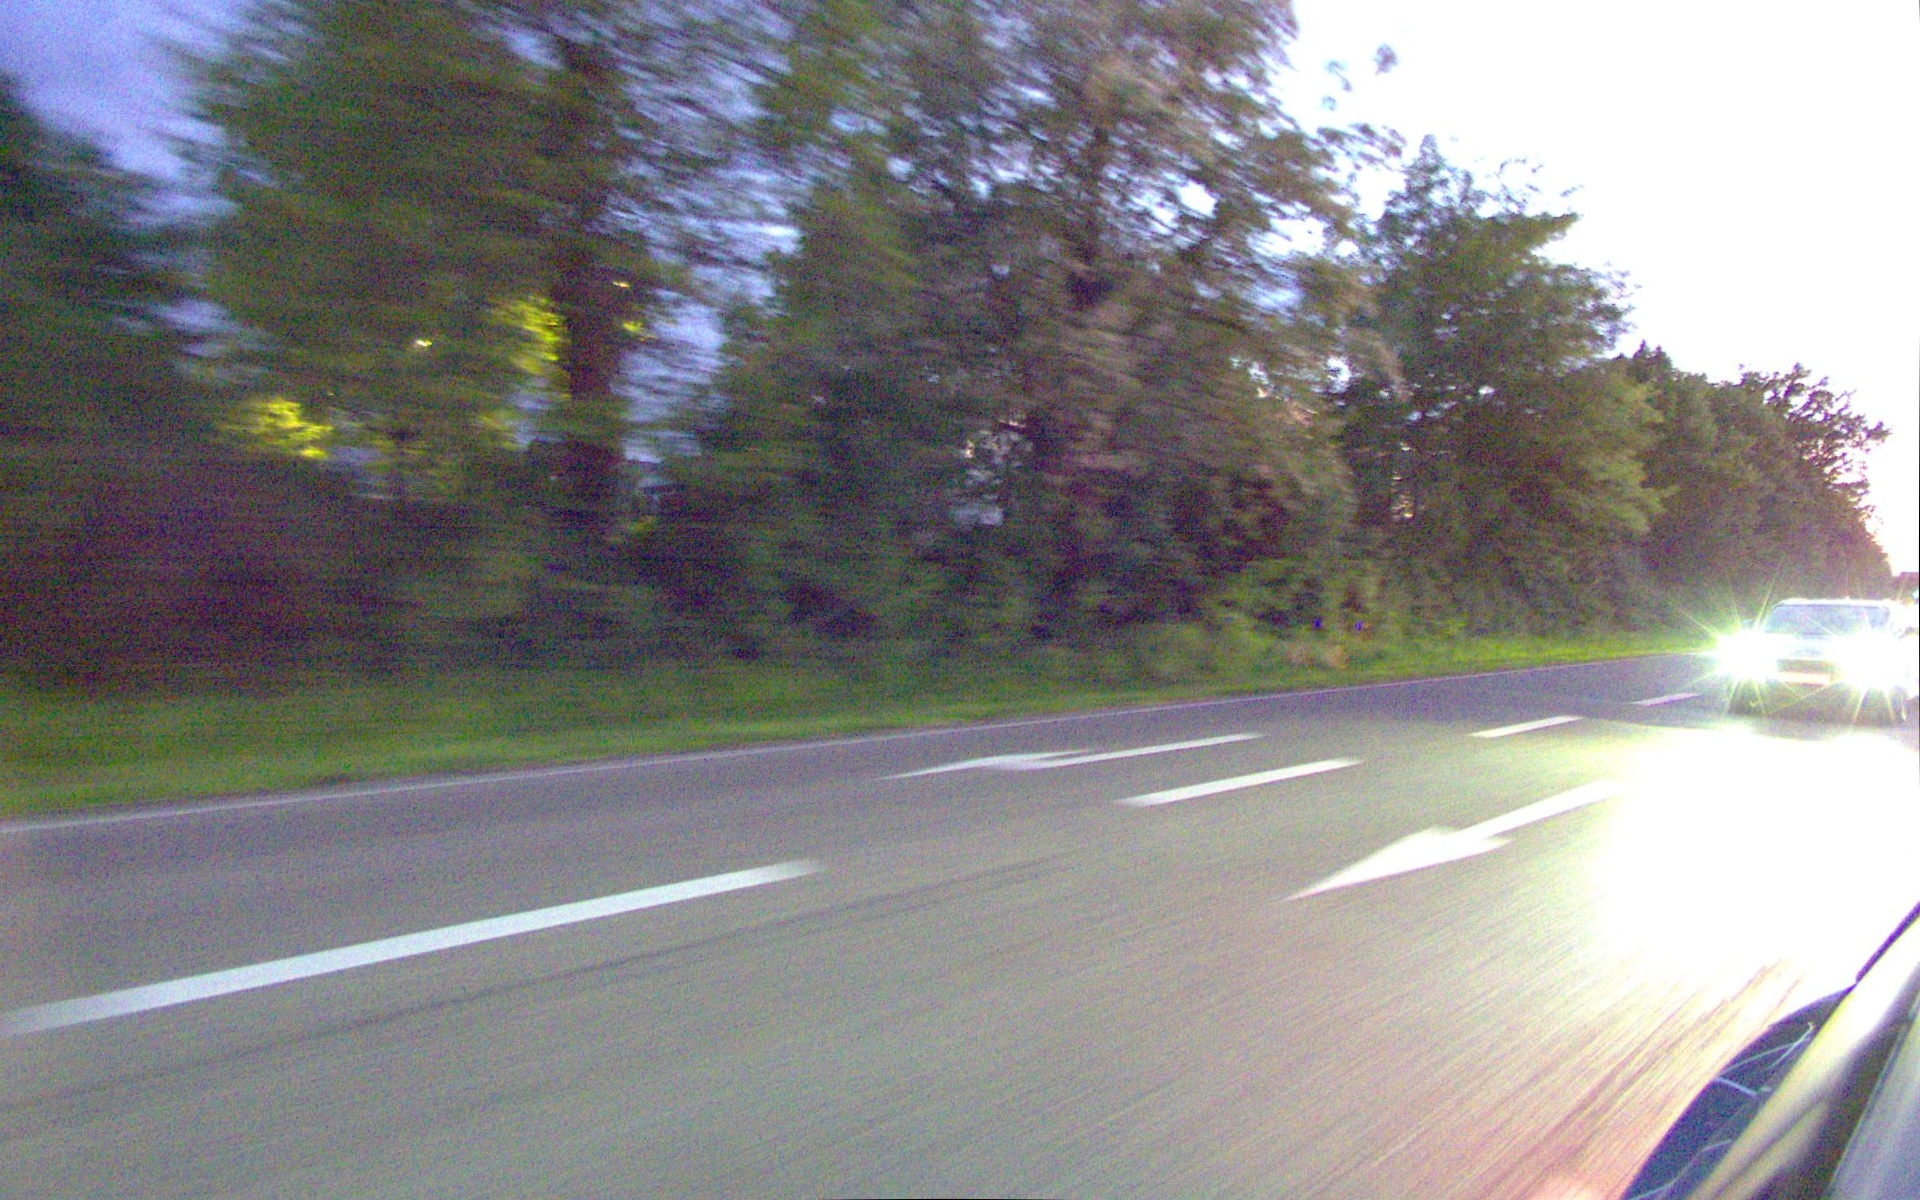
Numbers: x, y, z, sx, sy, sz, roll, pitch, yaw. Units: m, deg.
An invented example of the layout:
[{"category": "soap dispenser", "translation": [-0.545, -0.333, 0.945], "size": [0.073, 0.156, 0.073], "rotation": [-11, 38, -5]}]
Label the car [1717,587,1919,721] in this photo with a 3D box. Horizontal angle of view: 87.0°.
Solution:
[{"category": "car", "translation": [12.852, 0.666, 14.758], "size": [4.629, 1.630, 1.997], "rotation": [1, 1, -41]}]
